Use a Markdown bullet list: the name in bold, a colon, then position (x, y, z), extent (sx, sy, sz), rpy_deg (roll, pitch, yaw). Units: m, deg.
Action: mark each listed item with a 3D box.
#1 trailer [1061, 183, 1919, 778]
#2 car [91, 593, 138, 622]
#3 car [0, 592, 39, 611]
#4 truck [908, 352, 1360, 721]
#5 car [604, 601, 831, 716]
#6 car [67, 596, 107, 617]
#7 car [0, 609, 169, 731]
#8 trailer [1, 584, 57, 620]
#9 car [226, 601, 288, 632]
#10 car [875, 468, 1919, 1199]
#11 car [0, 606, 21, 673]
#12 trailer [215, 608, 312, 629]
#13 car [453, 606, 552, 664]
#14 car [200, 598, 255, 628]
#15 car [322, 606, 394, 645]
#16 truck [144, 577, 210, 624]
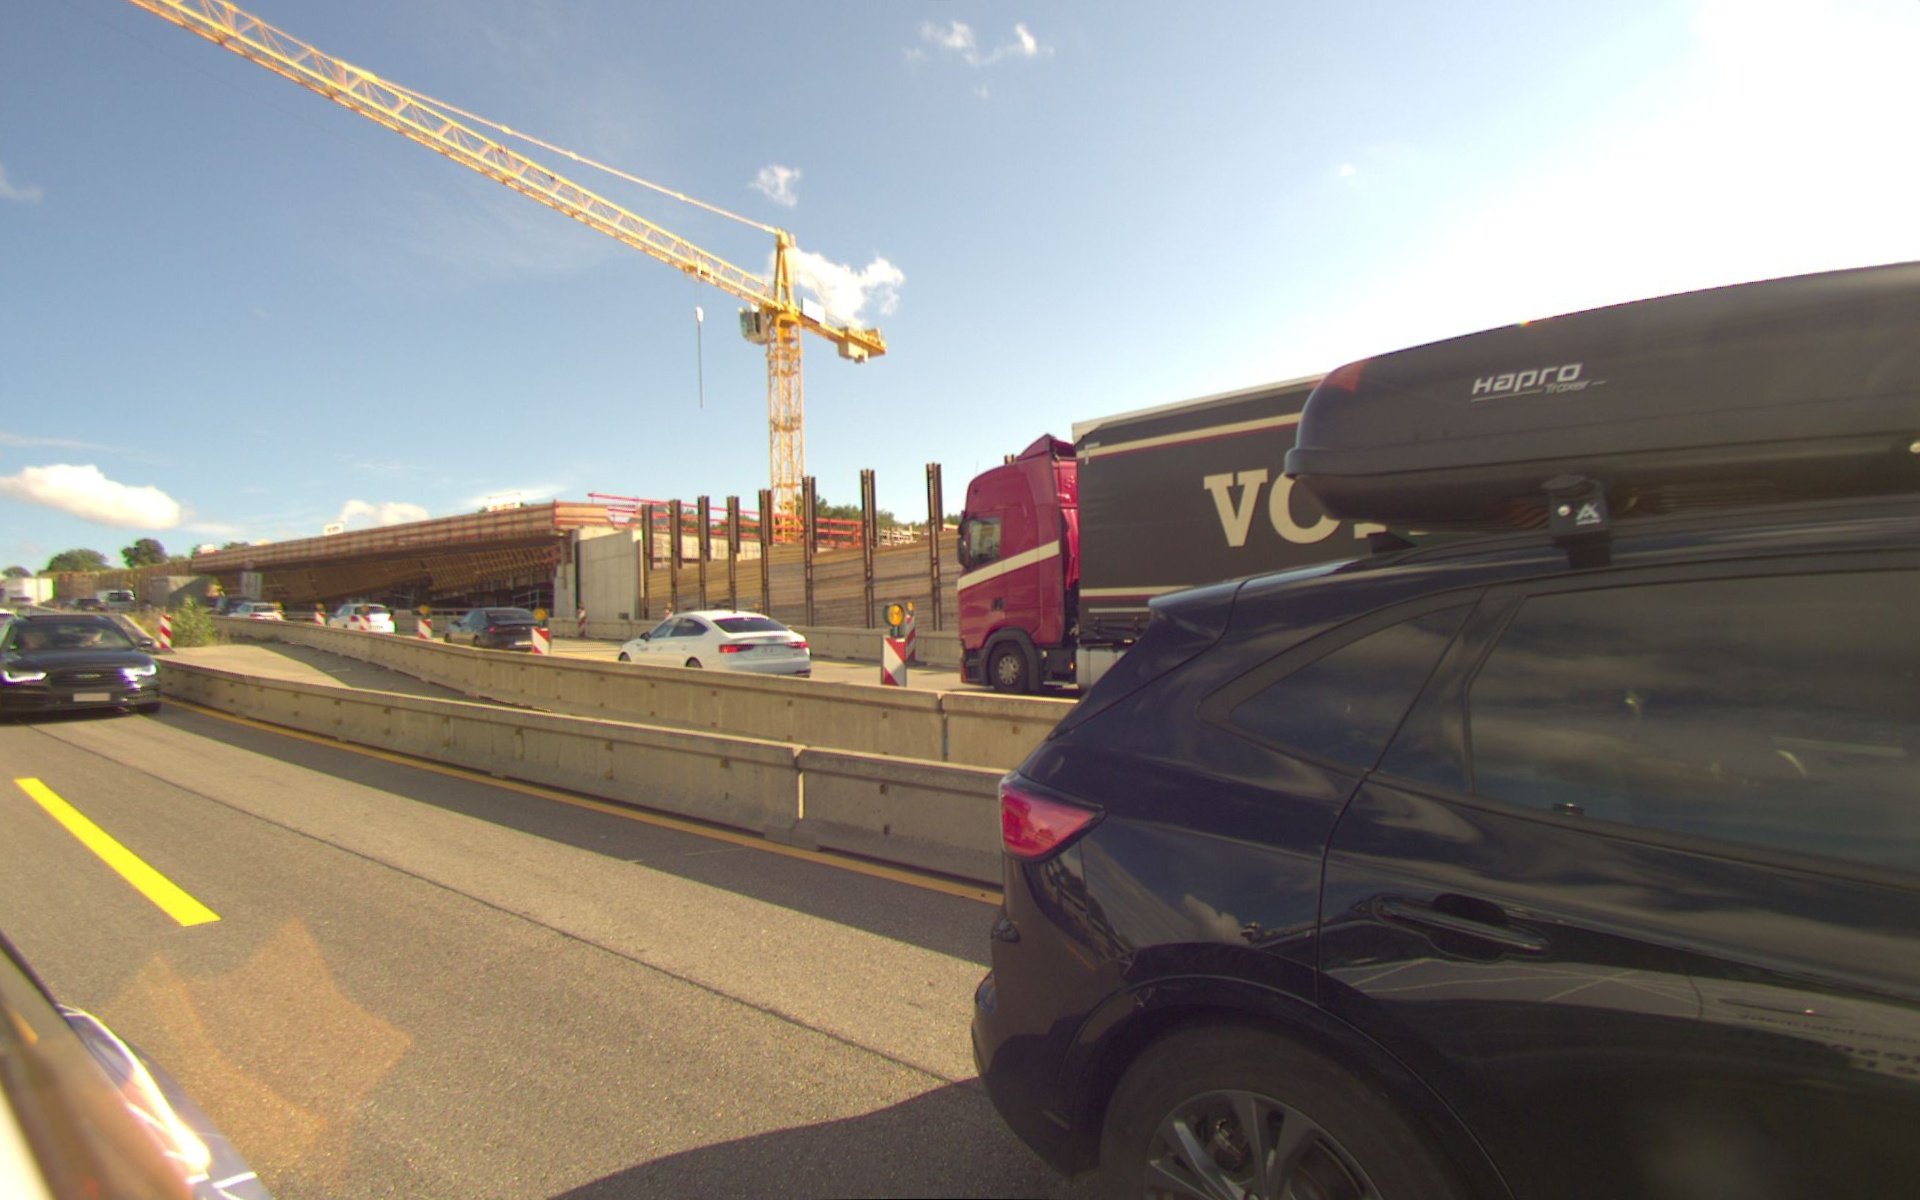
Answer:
- **trailer**: position (7.125, -0.899, 9.922), extent (2.940, 4.456, 13.835), rpy_deg (-2, 0, -41)
- **car**: position (-72.742, 0.594, 87.022), extent (5.865, 2.420, 2.234), rpy_deg (1, 1, 42)
- **car**: position (-92.776, 0.152, 99.819), extent (5.025, 1.779, 2.105), rpy_deg (-1, 0, 39)
- **truck**: position (2.335, -0.747, 15.449), extent (2.879, 4.420, 6.295), rpy_deg (-2, 0, -41)
- **car**: position (-4.235, 0.888, 17.162), extent (1.822, 1.660, 4.510), rpy_deg (-1, 0, -42)
- **car**: position (-69.903, 0.519, 81.025), extent (4.748, 1.648, 1.833), rpy_deg (-1, 0, 42)
- **car**: position (-13.589, 0.925, 15.255), extent (4.658, 1.467, 1.783), rpy_deg (1, 1, 41)
- **trailer**: position (-104.774, 0.111, 113.810), extent (13.791, 3.870, 2.793), rpy_deg (1, 1, 40)
- **car**: position (-35.302, 0.816, 50.744), extent (1.831, 1.450, 4.561), rpy_deg (-1, 0, -44)
- **car**: position (2.042, 0.620, 1.485), extent (4.382, 1.554, 1.781), rpy_deg (-1, 0, 41)
- **car**: position (-25.830, 0.993, 26.202), extent (4.560, 1.576, 1.783), rpy_deg (1, 1, 41)
- **trailer**: position (-40.896, 1.059, 59.214), extent (10.326, 0.947, 2.327), rpy_deg (1, 1, 42)
- **car**: position (-12.859, 0.918, 28.277), extent (1.796, 1.450, 4.626), rpy_deg (-1, 0, -34)
- **car**: position (-46.423, 0.796, 64.118), extent (4.444, 1.817, 1.972), rpy_deg (1, 1, 42)
- **car**: position (-24.113, 1.012, 40.490), extent (1.733, 1.450, 3.809), rpy_deg (-1, 0, -42)
- **truck**: position (-58.223, -0.031, 75.214), extent (7.537, 3.336, 2.671), rpy_deg (1, 1, 43)
